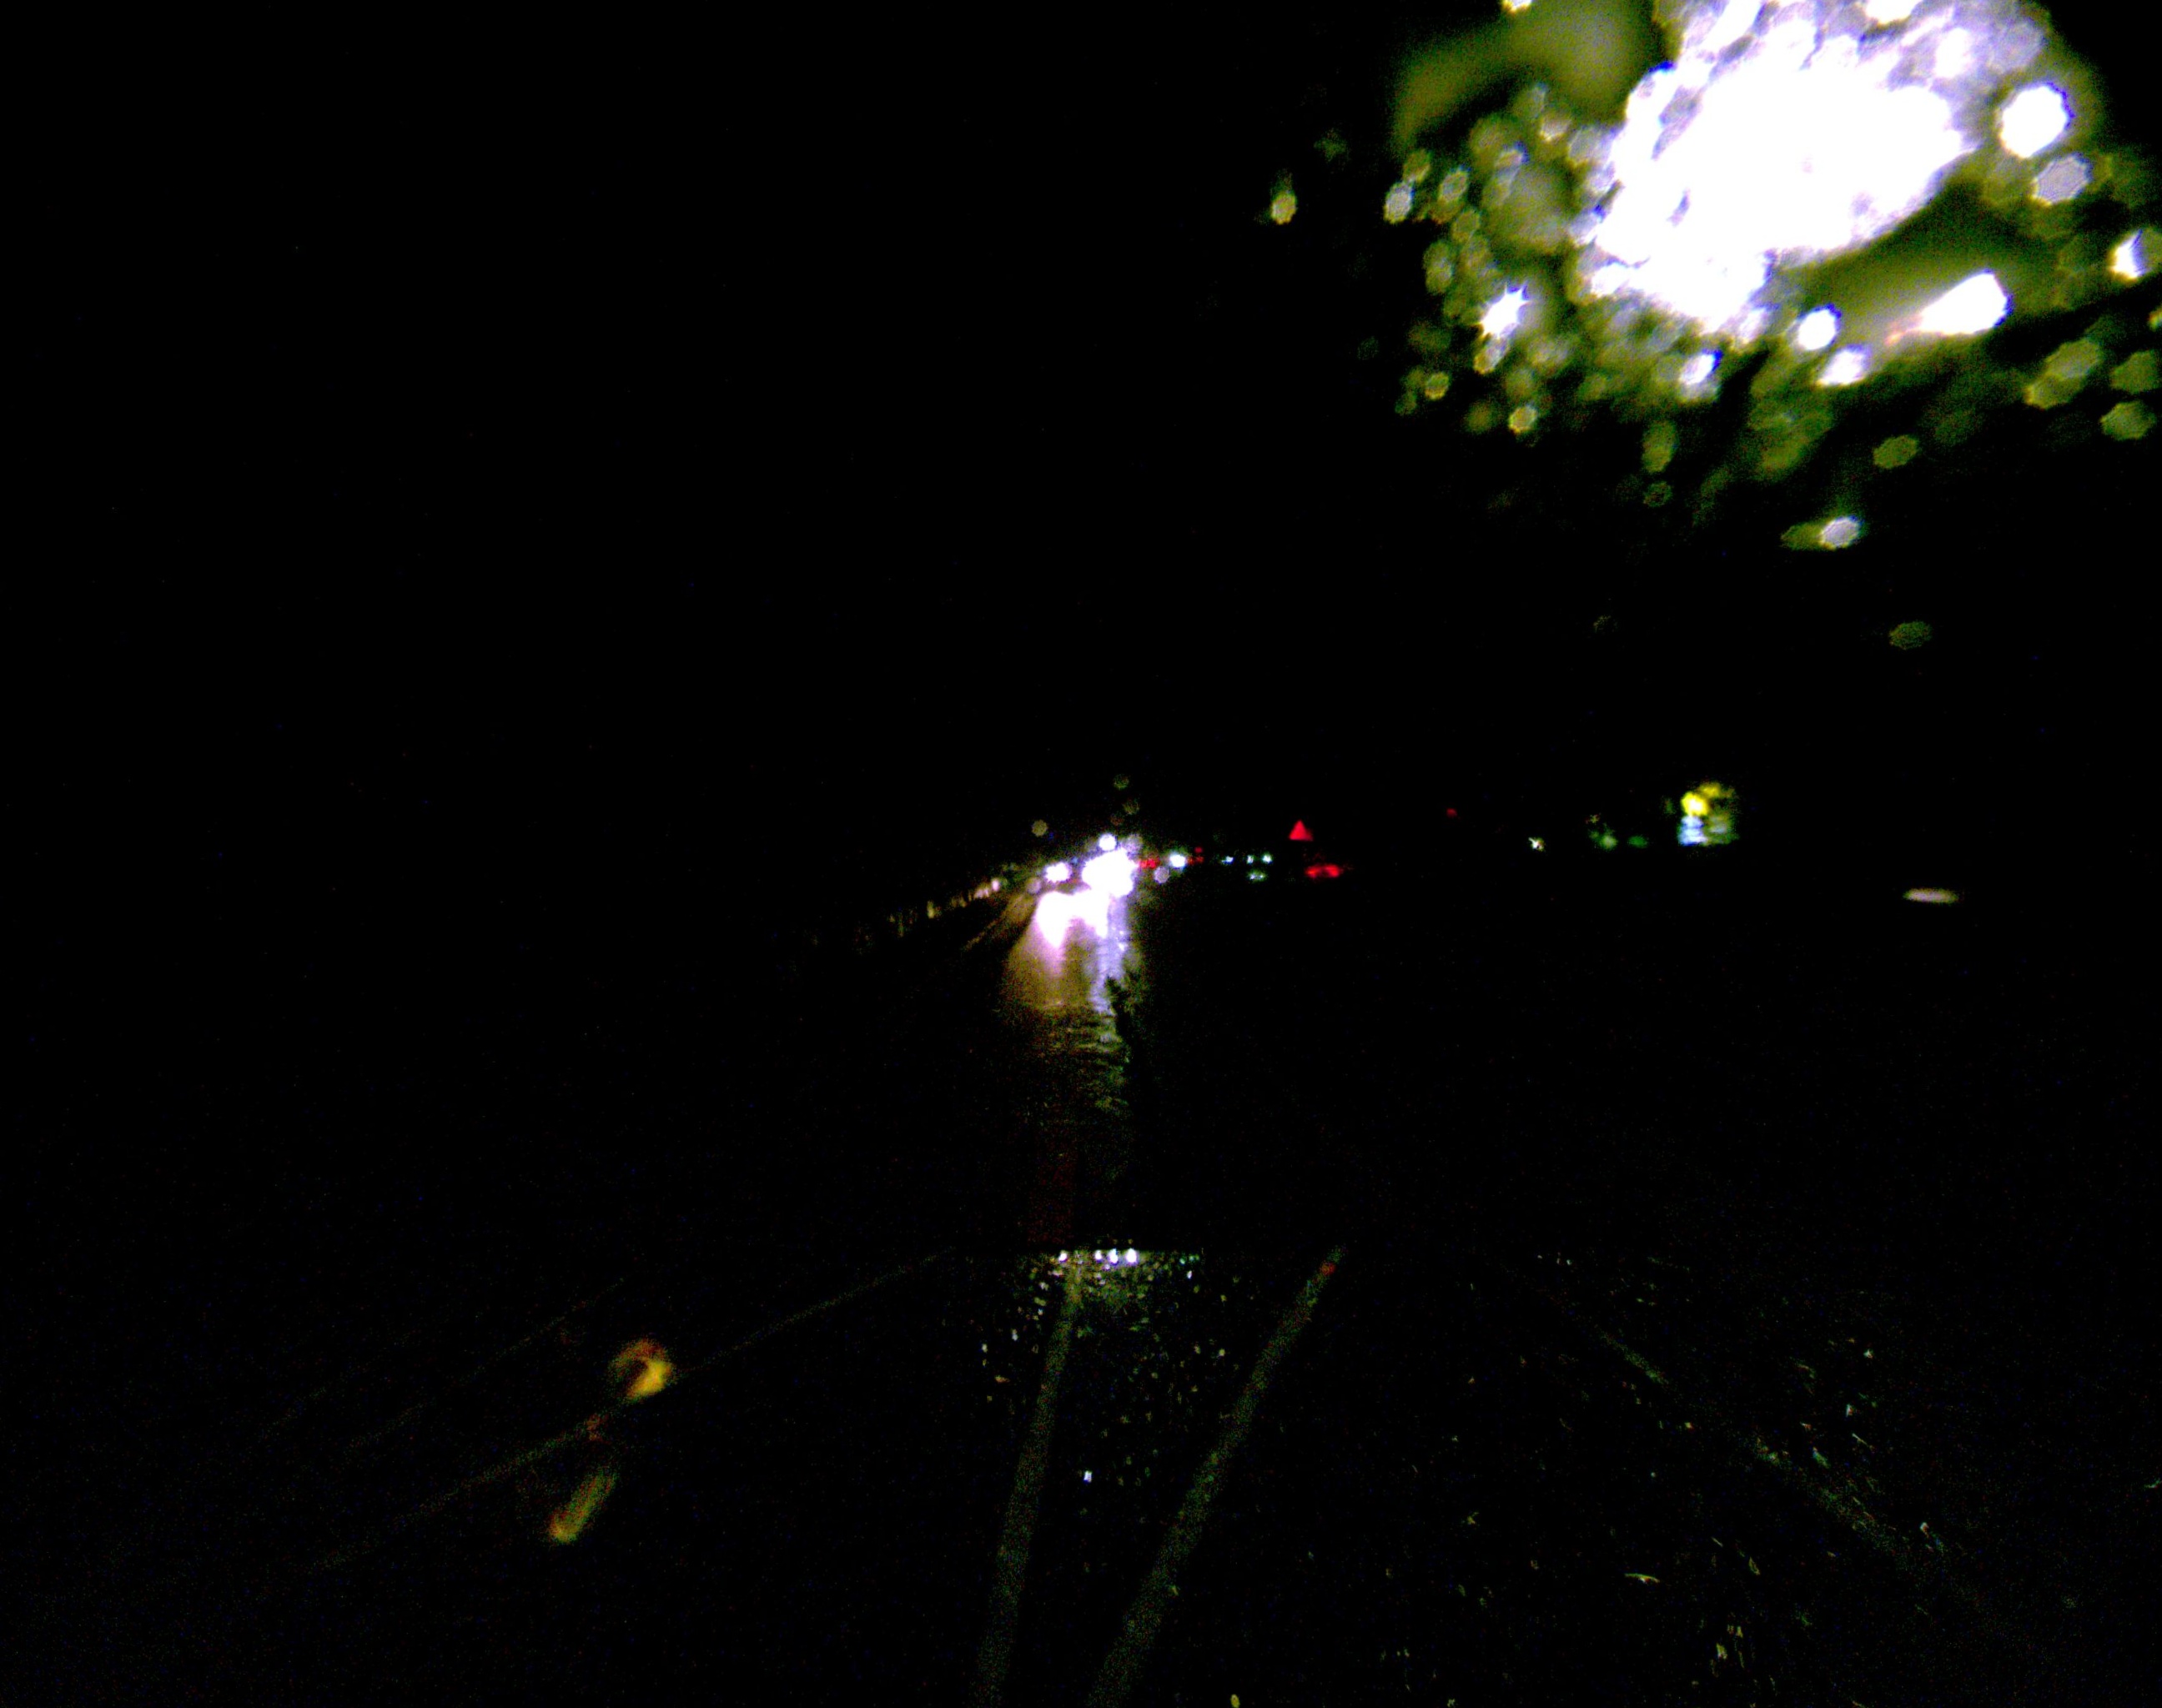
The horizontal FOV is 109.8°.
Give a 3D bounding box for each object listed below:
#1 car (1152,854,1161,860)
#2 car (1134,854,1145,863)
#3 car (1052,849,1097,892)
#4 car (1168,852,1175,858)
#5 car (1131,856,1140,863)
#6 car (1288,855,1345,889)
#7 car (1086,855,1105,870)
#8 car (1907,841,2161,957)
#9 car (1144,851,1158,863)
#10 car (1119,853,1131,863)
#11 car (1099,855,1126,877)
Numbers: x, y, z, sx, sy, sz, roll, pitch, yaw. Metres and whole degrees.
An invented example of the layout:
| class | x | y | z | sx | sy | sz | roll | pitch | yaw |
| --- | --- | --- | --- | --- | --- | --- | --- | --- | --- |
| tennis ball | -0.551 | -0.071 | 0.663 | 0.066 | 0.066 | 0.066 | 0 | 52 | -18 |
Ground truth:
| class | x | y | z | sx | sy | sz | roll | pitch | yaw |
| --- | --- | --- | --- | --- | --- | --- | --- | --- | --- |
| car | 19.085 | 0.656 | 192.324 | 1.806 | 1.416 | 4.207 | -1 | 1 | 9 |
| car | 10.929 | 0.813 | 140.853 | 1.807 | 1.416 | 4.207 | -1 | 1 | 7 |
| car | -0.241 | 0.693 | 34.973 | 1.877 | 1.825 | 4.206 | -1 | 0 | 2 |
| car | 25.575 | 0.258 | 214.467 | 1.806 | 1.416 | 4.208 | -1 | 1 | 11 |
| car | 13.190 | 1.403 | 183.947 | 1.997 | 1.456 | 4.002 | -1 | 1 | 8 |
| car | 13.005 | 0.967 | 42.190 | 1.712 | 1.643 | 4.506 | -1 | 1 | 0 |
| car | 1.555 | 0.912 | 81.936 | 1.808 | 1.416 | 4.204 | -1 | 1 | -1 |
| car | 15.014 | 0.583 | 10.302 | 1.753 | 1.495 | 4.884 | -2 | 1 | -18 |
| car | 10.947 | 0.417 | 119.038 | 2.093 | 1.691 | 4.578 | -1 | 1 | 4 |
| car | 9.158 | 0.870 | 157.573 | 1.997 | 2.002 | 4.002 | -1 | 1 | 10 |
| car | 2.584 | 0.962 | 63.167 | 1.914 | 1.694 | 4.938 | -1 | 0 | -1 |
